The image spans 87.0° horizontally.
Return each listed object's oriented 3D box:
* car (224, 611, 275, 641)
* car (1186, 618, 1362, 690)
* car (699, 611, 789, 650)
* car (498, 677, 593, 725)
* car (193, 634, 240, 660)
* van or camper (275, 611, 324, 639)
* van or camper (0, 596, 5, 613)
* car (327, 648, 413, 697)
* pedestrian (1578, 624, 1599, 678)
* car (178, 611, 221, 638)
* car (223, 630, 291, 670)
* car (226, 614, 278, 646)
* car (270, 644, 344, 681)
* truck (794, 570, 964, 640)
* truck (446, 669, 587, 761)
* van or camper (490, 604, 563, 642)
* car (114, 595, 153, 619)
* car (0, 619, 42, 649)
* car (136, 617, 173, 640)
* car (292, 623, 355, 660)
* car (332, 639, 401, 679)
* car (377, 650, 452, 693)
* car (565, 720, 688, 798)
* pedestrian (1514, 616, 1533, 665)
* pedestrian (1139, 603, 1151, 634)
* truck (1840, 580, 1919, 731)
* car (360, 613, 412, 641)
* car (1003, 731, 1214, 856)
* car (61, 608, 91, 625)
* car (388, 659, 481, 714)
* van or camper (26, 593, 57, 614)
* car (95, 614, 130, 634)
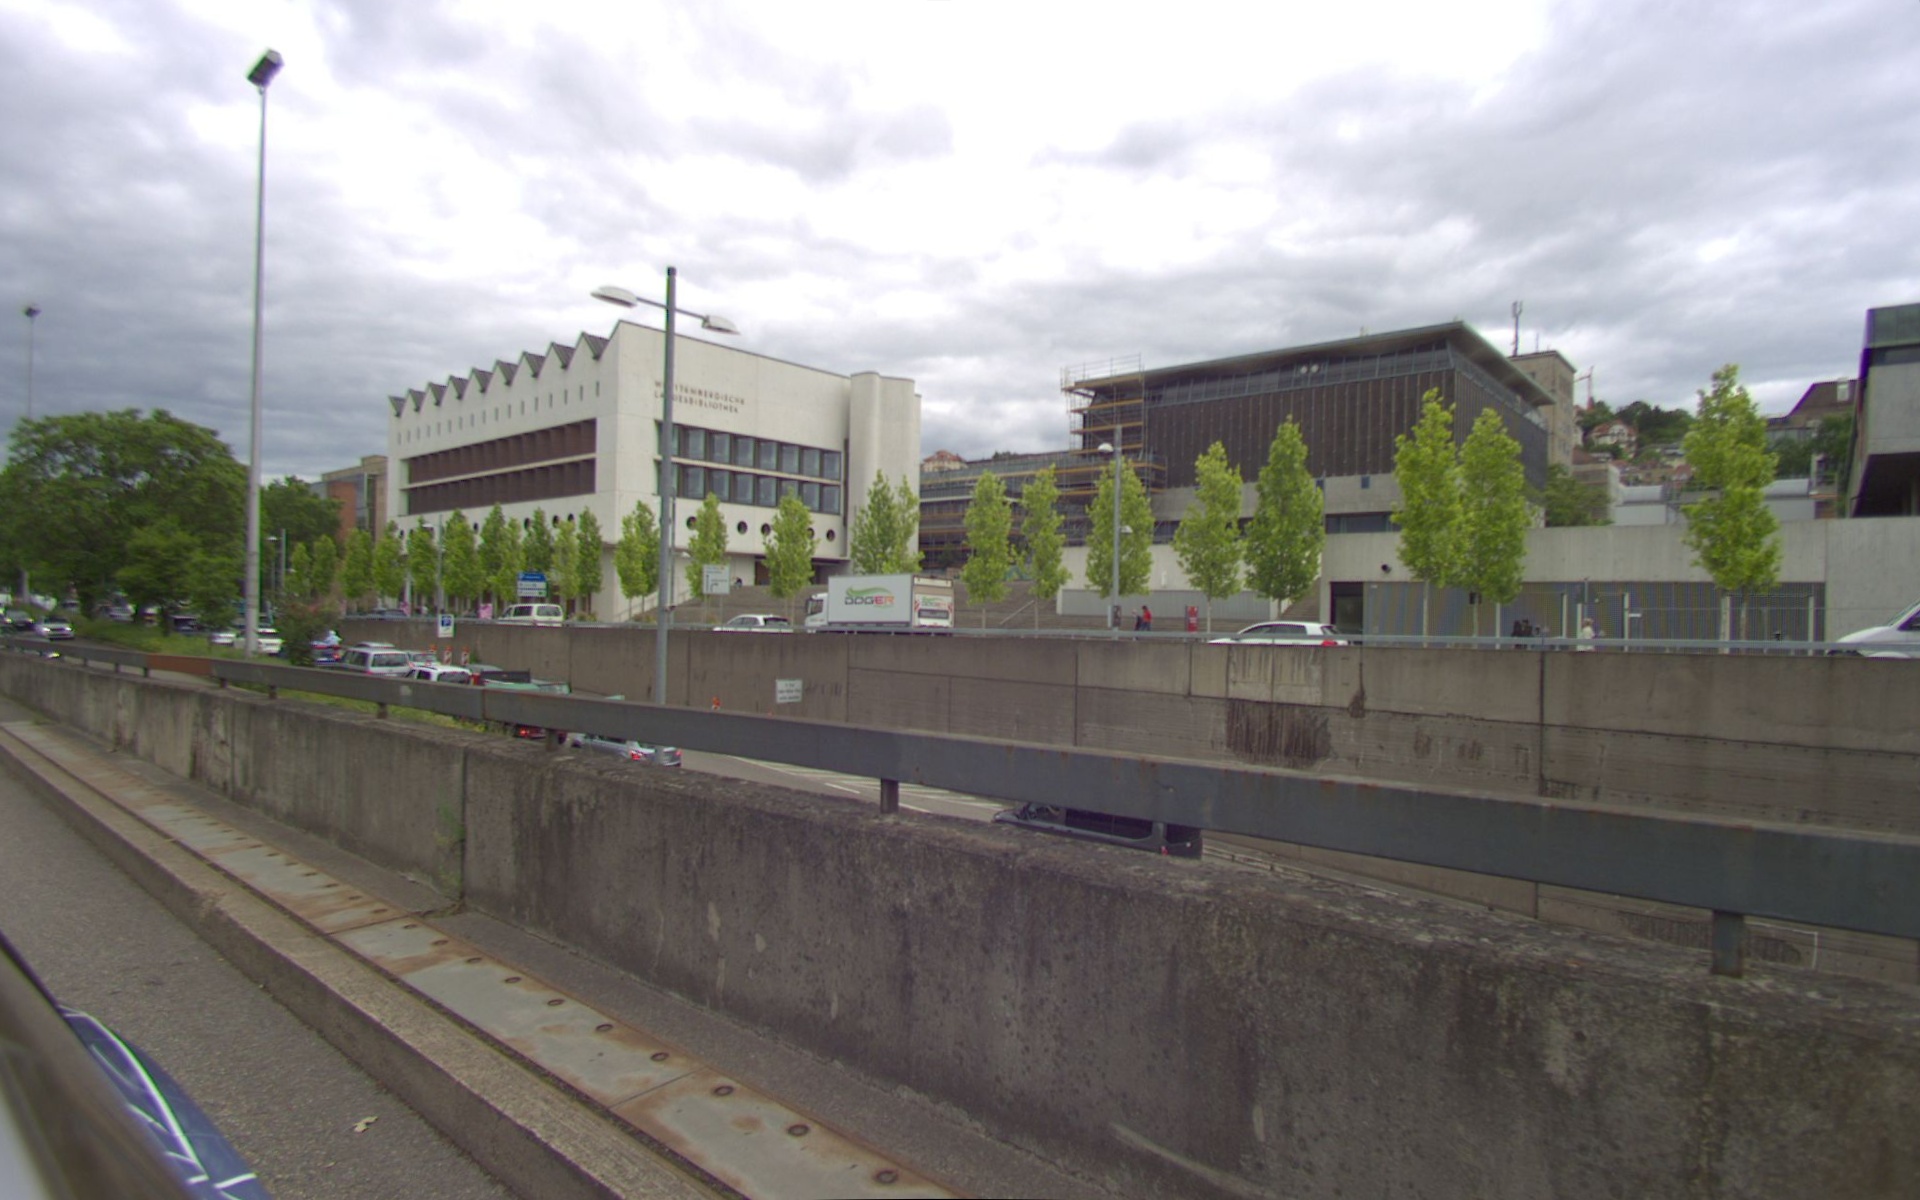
[{"bbox_3d":[-50.550,1.831,71.948,4.653,2.029,1.972,-2,-1,42],"label":"car"},{"bbox_3d":[8.721,1.467,28.293,4.256,1.829,1.972,-2,-2,42],"label":"car"},{"bbox_3d":[-9.388,1.323,43.799,4.270,1.586,1.700,-2,-2,43],"label":"car"},{"bbox_3d":[-16.818,4.050,41.012,3.998,1.564,1.973,-1,0,41],"label":"car"},{"bbox_3d":[-45.789,2.849,62.270,3.360,1.497,1.653,-1,-2,42],"label":"car"},{"bbox_3d":[-51.181,1.949,78.387,4.553,2.029,1.974,-2,-2,40],"label":"van or camper"},{"bbox_3d":[-122.482,0.619,128.064,3.998,2.029,2.010,-2,-1,42],"label":"van or camper"},{"bbox_3d":[-26.312,3.219,45.074,4.331,2.029,1.972,-2,-5,42],"label":"car"},{"bbox_3d":[18.213,1.459,29.328,0.461,1.533,0.424,-1,0,35],"label":"pedestrian"},{"bbox_3d":[-61.591,2.004,81.922,3.998,2.029,1.972,-2,-5,42],"label":"car"},{"bbox_3d":[-39.587,2.813,56.934,4.850,2.148,1.972,-2,-5,42],"label":"car"},{"bbox_3d":[-48.903,2.088,69.872,3.998,2.029,1.972,-2,-5,42],"label":"car"},{"bbox_3d":[-32.946,3.144,50.999,4.280,1.757,1.972,-2,-5,42],"label":"car"},{"bbox_3d":[-3.631,0.294,43.948,7.249,2.809,3.197,-2,-2,41],"label":"truck"},{"bbox_3d":[-15.592,3.891,35.406,5.977,2.711,2.294,-2,-1,42],"label":"truck"},{"bbox_3d":[-24.227,1.289,56.499,4.555,2.029,1.972,-2,-2,42],"label":"van or camper"},{"bbox_3d":[-73.087,0.619,89.466,3.998,2.029,1.973,-1,0,41],"label":"car"},{"bbox_3d":[-67.397,2.430,72.501,3.999,2.029,1.972,0,-2,42],"label":"car"},{"bbox_3d":[-75.577,2.684,94.965,3.998,2.029,1.972,-2,-5,42],"label":"car"},{"bbox_3d":[-37.264,2.419,59.204,3.998,2.029,1.972,-2,-5,42],"label":"car"},{"bbox_3d":[-32.138,3.175,54.776,3.998,2.029,1.972,-2,-5,42],"label":"car"},{"bbox_3d":[-27.476,3.575,50.955,3.998,2.029,1.972,-2,-5,42],"label":"car"},{"bbox_3d":[-10.090,4.719,30.506,3.925,1.829,1.771,-2,-1,41],"label":"car"},{"bbox_3d":[17.853,1.281,32.075,0.461,1.533,0.457,-1,0,35],"label":"pedestrian"},{"bbox_3d":[9.333,0.920,50.997,0.461,1.533,0.377,-1,-1,35],"label":"pedestrian"},{"bbox_3d":[20.602,0.979,18.200,7.078,2.838,2.437,-2,-2,43],"label":"truck"},{"bbox_3d":[-39.202,1.873,69.087,3.998,1.829,1.972,-2,-2,42],"label":"car"},{"bbox_3d":[3.223,4.149,22.410,4.227,1.970,1.973,-1,0,41],"label":"car"},{"bbox_3d":[-82.155,1.543,94.053,3.360,1.497,1.653,-2,-1,42],"label":"car"},{"bbox_3d":[-21.158,3.432,40.699,3.998,2.029,1.972,-2,-5,42],"label":"car"},{"bbox_3d":[-95.599,0.357,105.314,3.998,2.029,2.010,-2,-1,42],"label":"van or camper"},{"bbox_3d":[-66.891,1.898,79.836,3.360,1.497,1.653,-2,-1,42],"label":"car"}]
